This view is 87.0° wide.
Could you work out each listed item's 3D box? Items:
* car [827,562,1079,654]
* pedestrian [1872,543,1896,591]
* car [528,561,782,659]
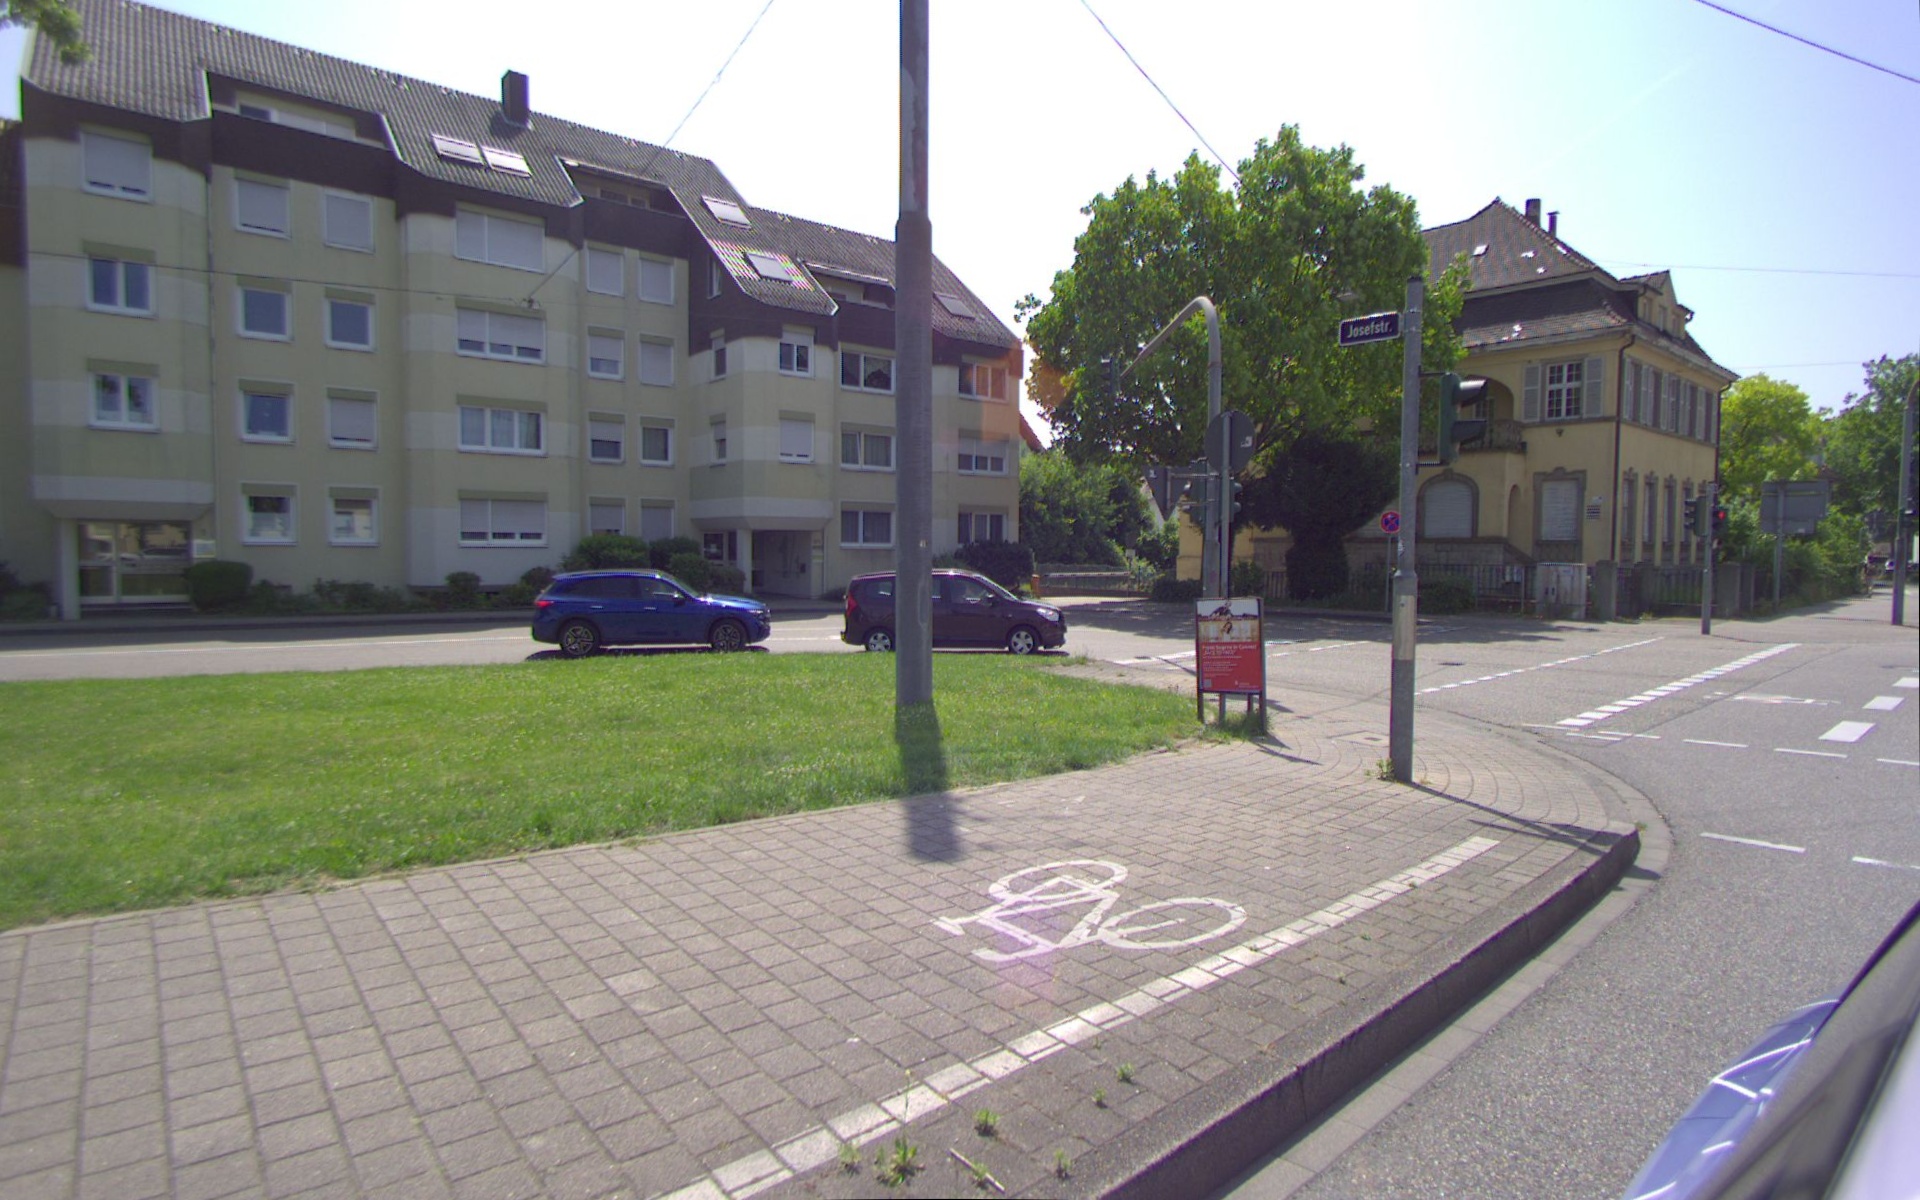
[{"bbox_3d":[-0.069,0.129,19.939,4.735,1.652,1.915,-1,3,7],"label":"car"},{"bbox_3d":[38.136,-1.384,41.760,0.731,1.941,0.620,-2,4,-43],"label":"pedestrian"},{"bbox_3d":[-6.016,0.129,20.454,4.669,1.721,2.005,-1,4,-12],"label":"car"}]
